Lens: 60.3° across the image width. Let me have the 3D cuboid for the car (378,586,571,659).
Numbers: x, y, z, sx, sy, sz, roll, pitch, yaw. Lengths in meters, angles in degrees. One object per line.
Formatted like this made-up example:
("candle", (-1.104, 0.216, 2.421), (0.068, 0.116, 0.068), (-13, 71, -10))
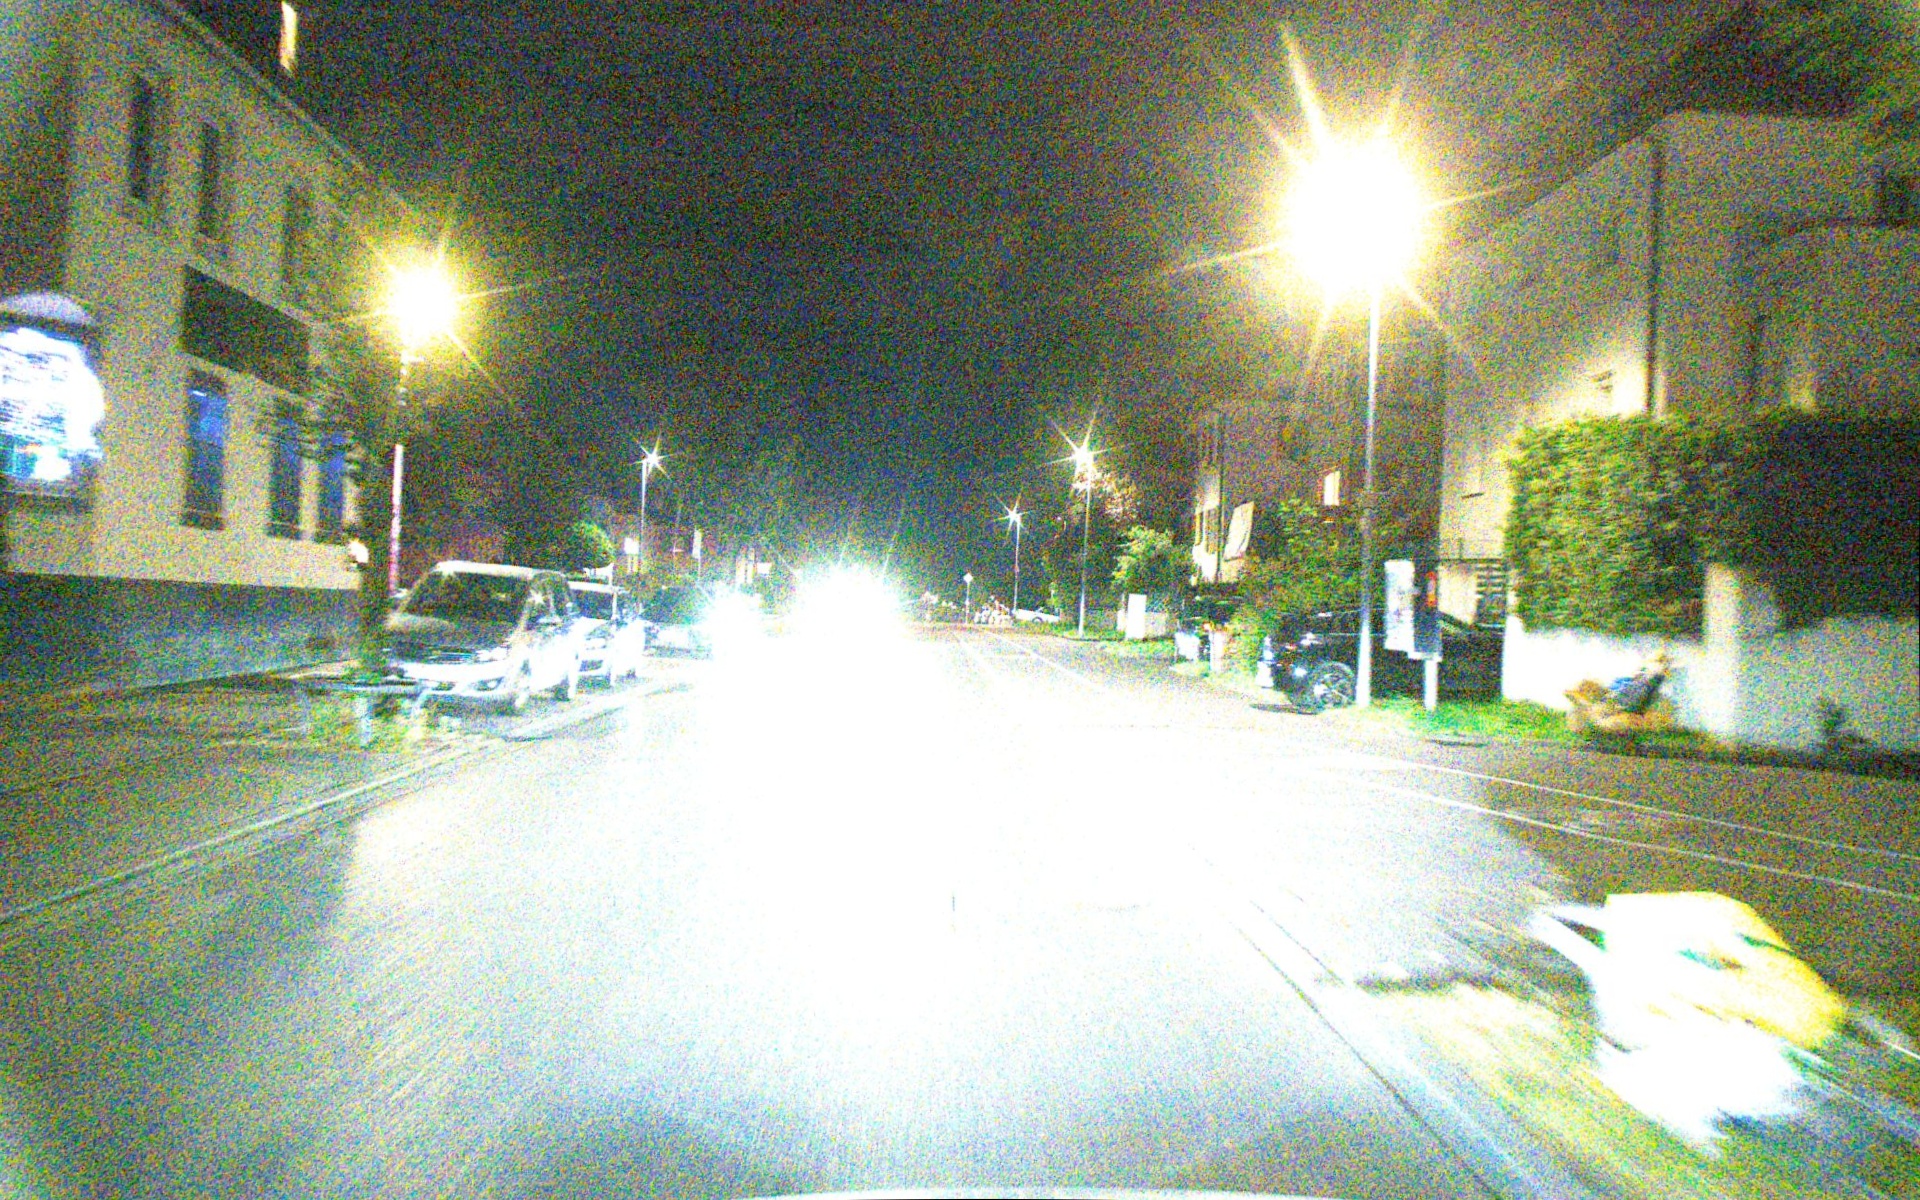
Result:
("car", (-11.628, 0.536, 39.812), (4.031, 1.691, 2.000), (0, 0, -1))

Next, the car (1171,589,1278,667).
("car", (5.790, 0.587, 36.585), (1.606, 1.587, 3.676), (2, 0, -3))

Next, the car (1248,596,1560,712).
("car", (6.099, 0.727, 23.001), (3.825, 1.512, 1.832), (1, 0, -2))

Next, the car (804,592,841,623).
("car", (-7.887, 0.442, 95.201), (1.638, 1.618, 3.987), (3, 0, 0))

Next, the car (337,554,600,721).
("car", (-5.673, 0.389, 19.710), (1.890, 1.665, 4.468), (3, 0, -3))

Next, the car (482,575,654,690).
("car", (-5.815, 0.448, 24.977), (1.735, 1.494, 3.964), (3, 0, -3))

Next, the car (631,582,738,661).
("car", (-5.814, 0.425, 35.288), (1.714, 1.494, 4.007), (3, 0, -3))

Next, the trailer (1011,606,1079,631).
("trailer", (4.492, 0.970, 87.917), (3.364, 1.019, 1.953), (5, -1, -2))

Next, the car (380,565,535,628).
("car", (-14.063, -0.104, 46.451), (3.913, 1.732, 1.944), (0, 0, -9))
